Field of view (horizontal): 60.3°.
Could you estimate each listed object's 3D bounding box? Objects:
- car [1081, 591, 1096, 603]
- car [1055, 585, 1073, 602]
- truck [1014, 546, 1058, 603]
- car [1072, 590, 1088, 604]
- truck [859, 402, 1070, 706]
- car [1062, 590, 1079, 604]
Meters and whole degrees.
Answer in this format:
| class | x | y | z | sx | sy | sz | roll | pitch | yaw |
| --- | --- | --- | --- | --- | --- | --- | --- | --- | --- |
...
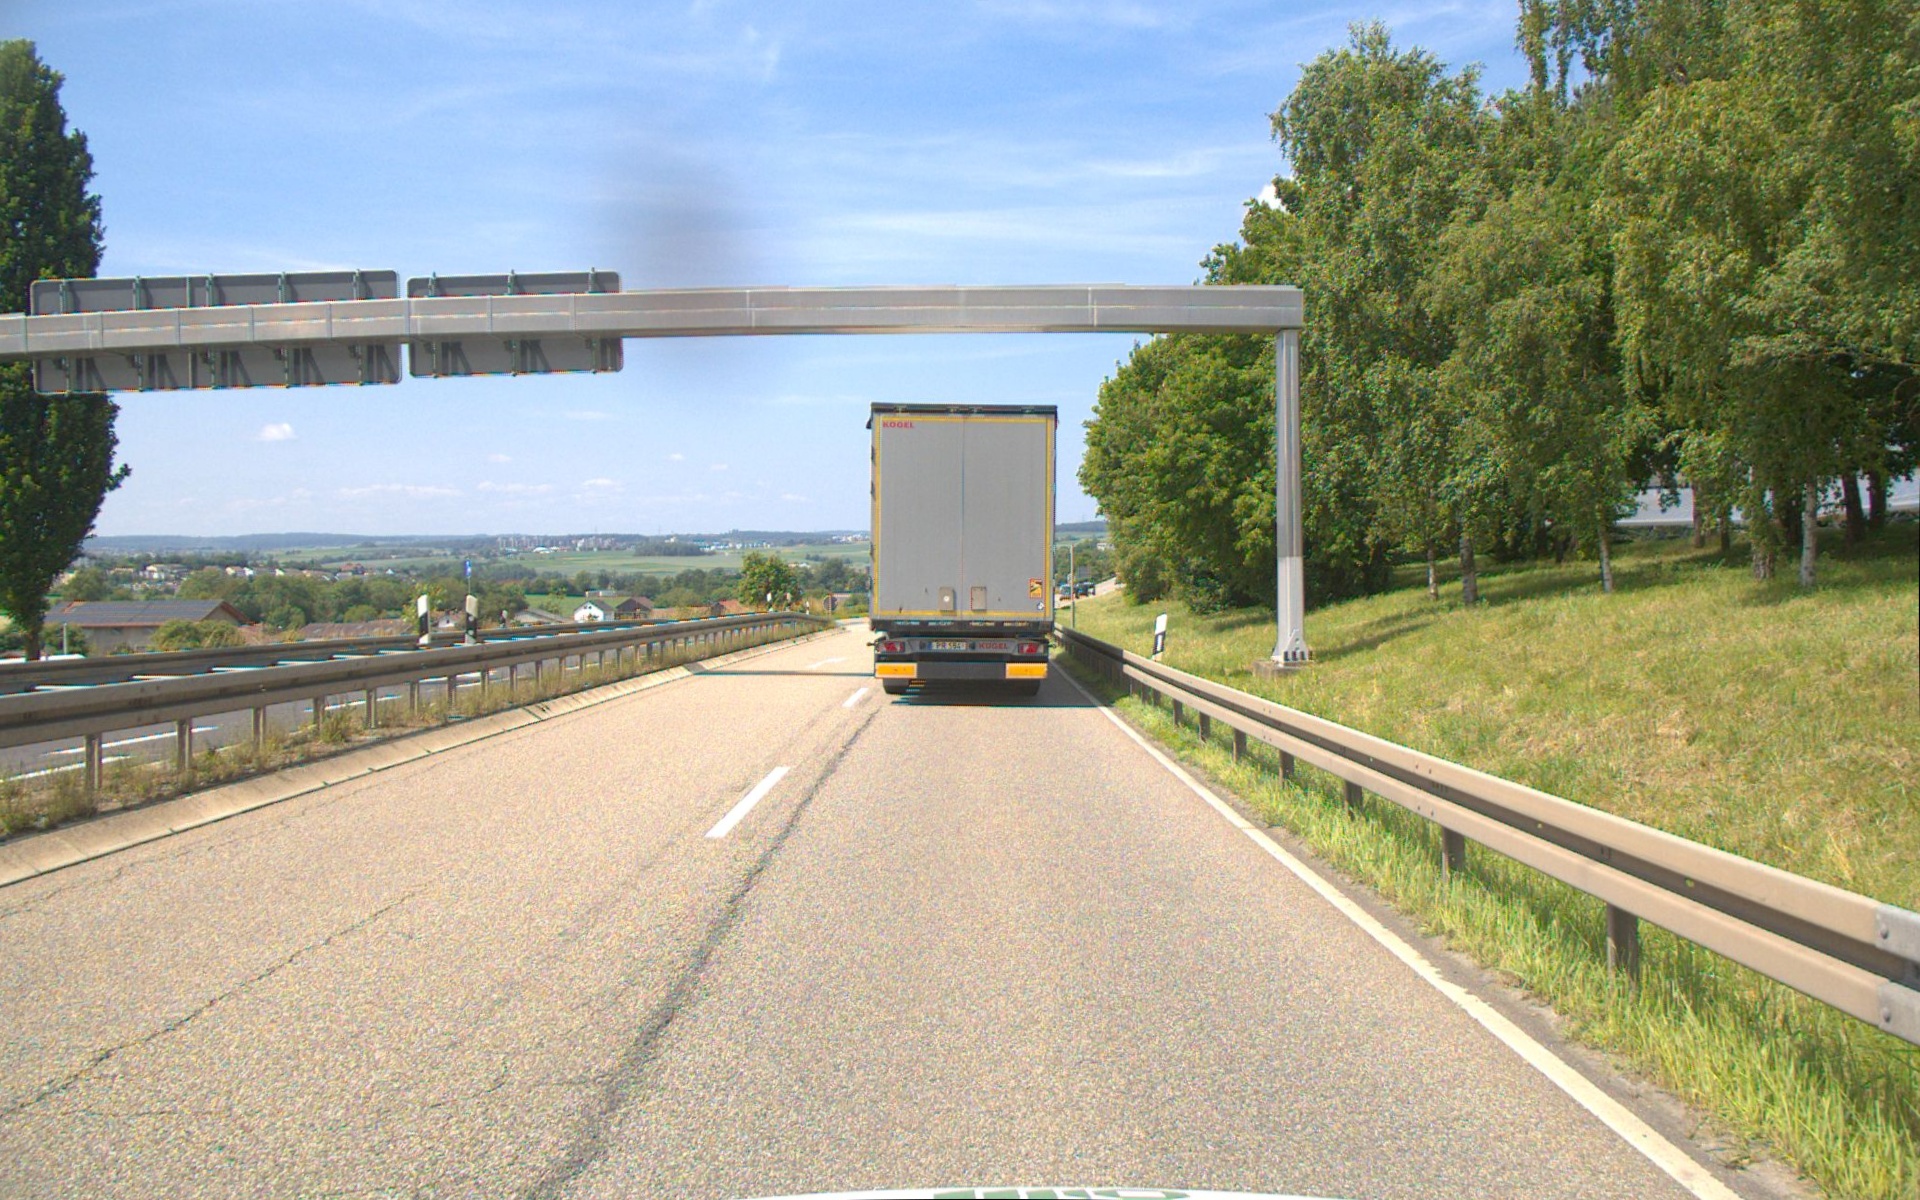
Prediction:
| class | x | y | z | sx | sy | sz | roll | pitch | yaw |
| --- | --- | --- | --- | --- | --- | --- | --- | --- | --- |
| car | 18.669 | -0.481 | 240.354 | 1.750 | 1.717 | 3.999 | 0 | -1 | 0 |
| car | 11.310 | -0.708 | 180.356 | 1.750 | 1.717 | 3.999 | 0 | -1 | 0 |
| truck | 5.528 | -1.754 | 118.245 | 2.599 | 3.830 | 10.168 | 0 | -1 | 6 |
| car | 16.003 | -0.379 | 220.728 | 1.750 | 1.717 | 3.999 | 0 | -1 | 0 |
| truck | 0.091 | -0.637 | 27.592 | 2.742 | 3.998 | 11.342 | 1 | 0 | 0 |
| car | 13.257 | -0.338 | 199.078 | 1.750 | 1.717 | 3.999 | 0 | -1 | 0 |
